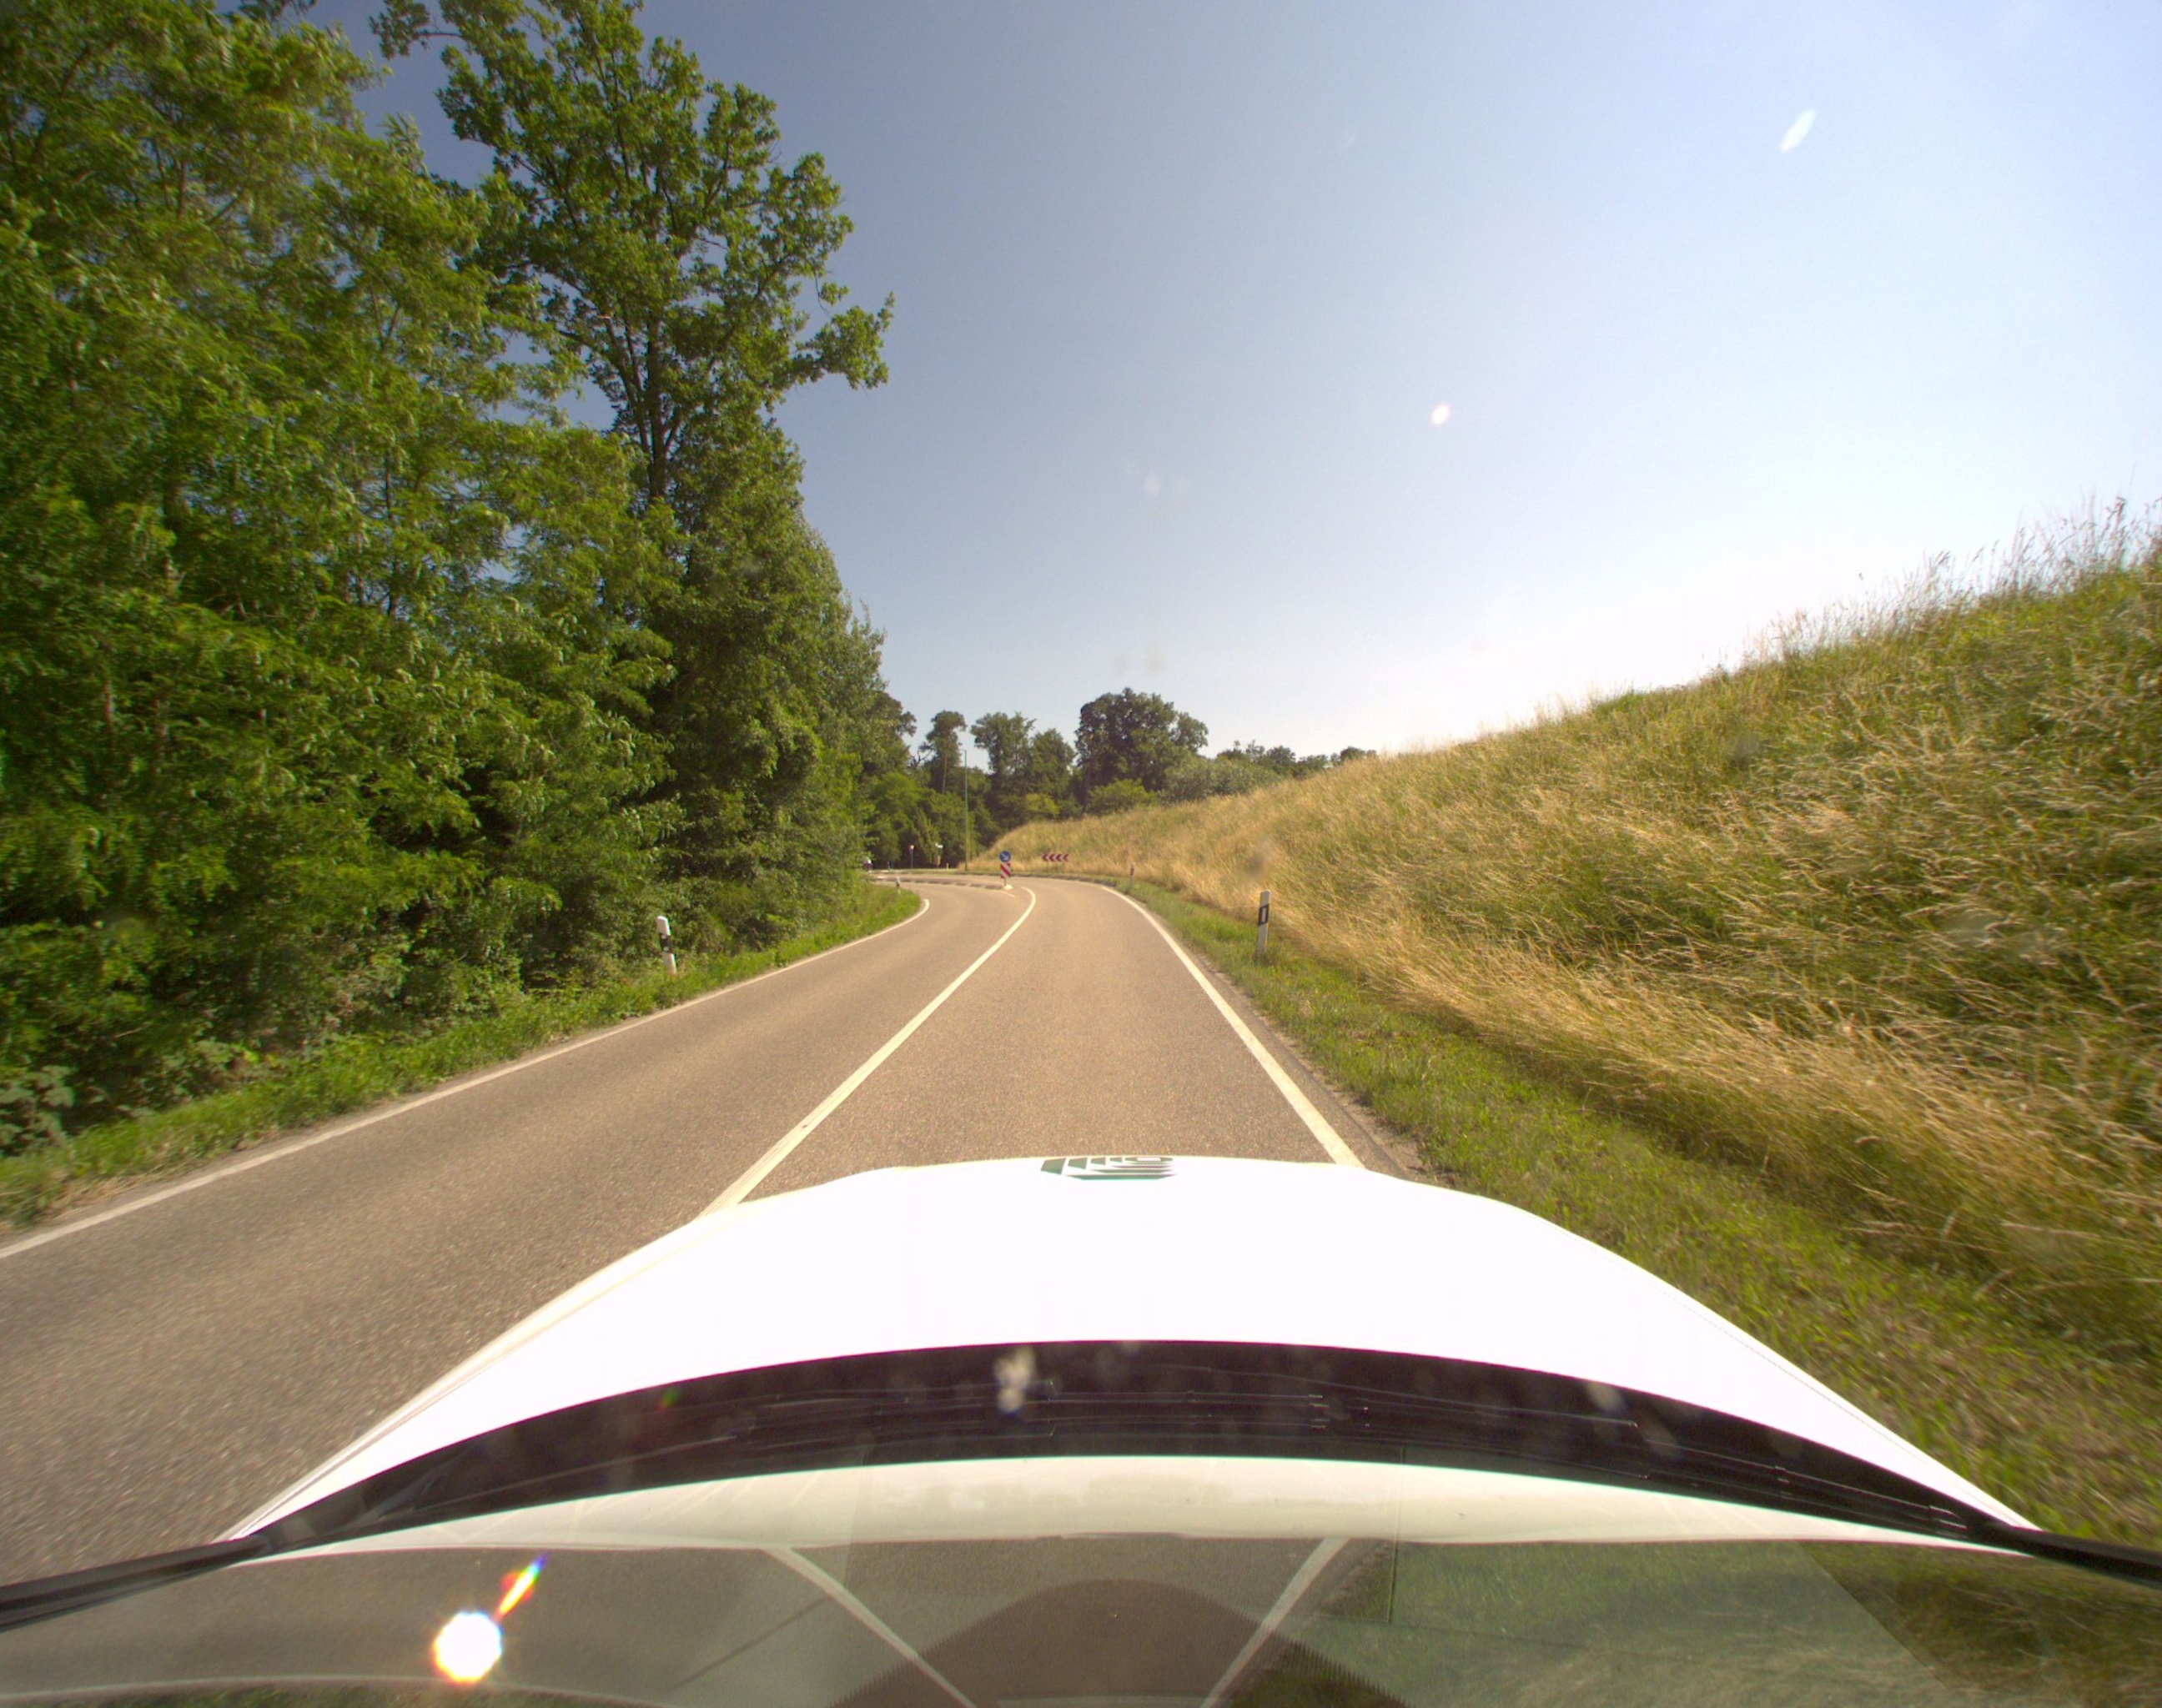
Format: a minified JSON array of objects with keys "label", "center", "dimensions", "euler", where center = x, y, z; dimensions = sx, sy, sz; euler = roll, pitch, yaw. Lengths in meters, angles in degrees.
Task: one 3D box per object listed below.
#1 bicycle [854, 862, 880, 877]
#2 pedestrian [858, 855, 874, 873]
[{"label":"bicycle","center":[-23.913,1.713,90.895],"dimensions":[3.158,1.587,1.194],"euler":[-2,0,43]},{"label":"pedestrian","center":[-24.087,1.118,91.143],"dimensions":[1.127,2.013,1.272],"euler":[-2,0,40]}]
